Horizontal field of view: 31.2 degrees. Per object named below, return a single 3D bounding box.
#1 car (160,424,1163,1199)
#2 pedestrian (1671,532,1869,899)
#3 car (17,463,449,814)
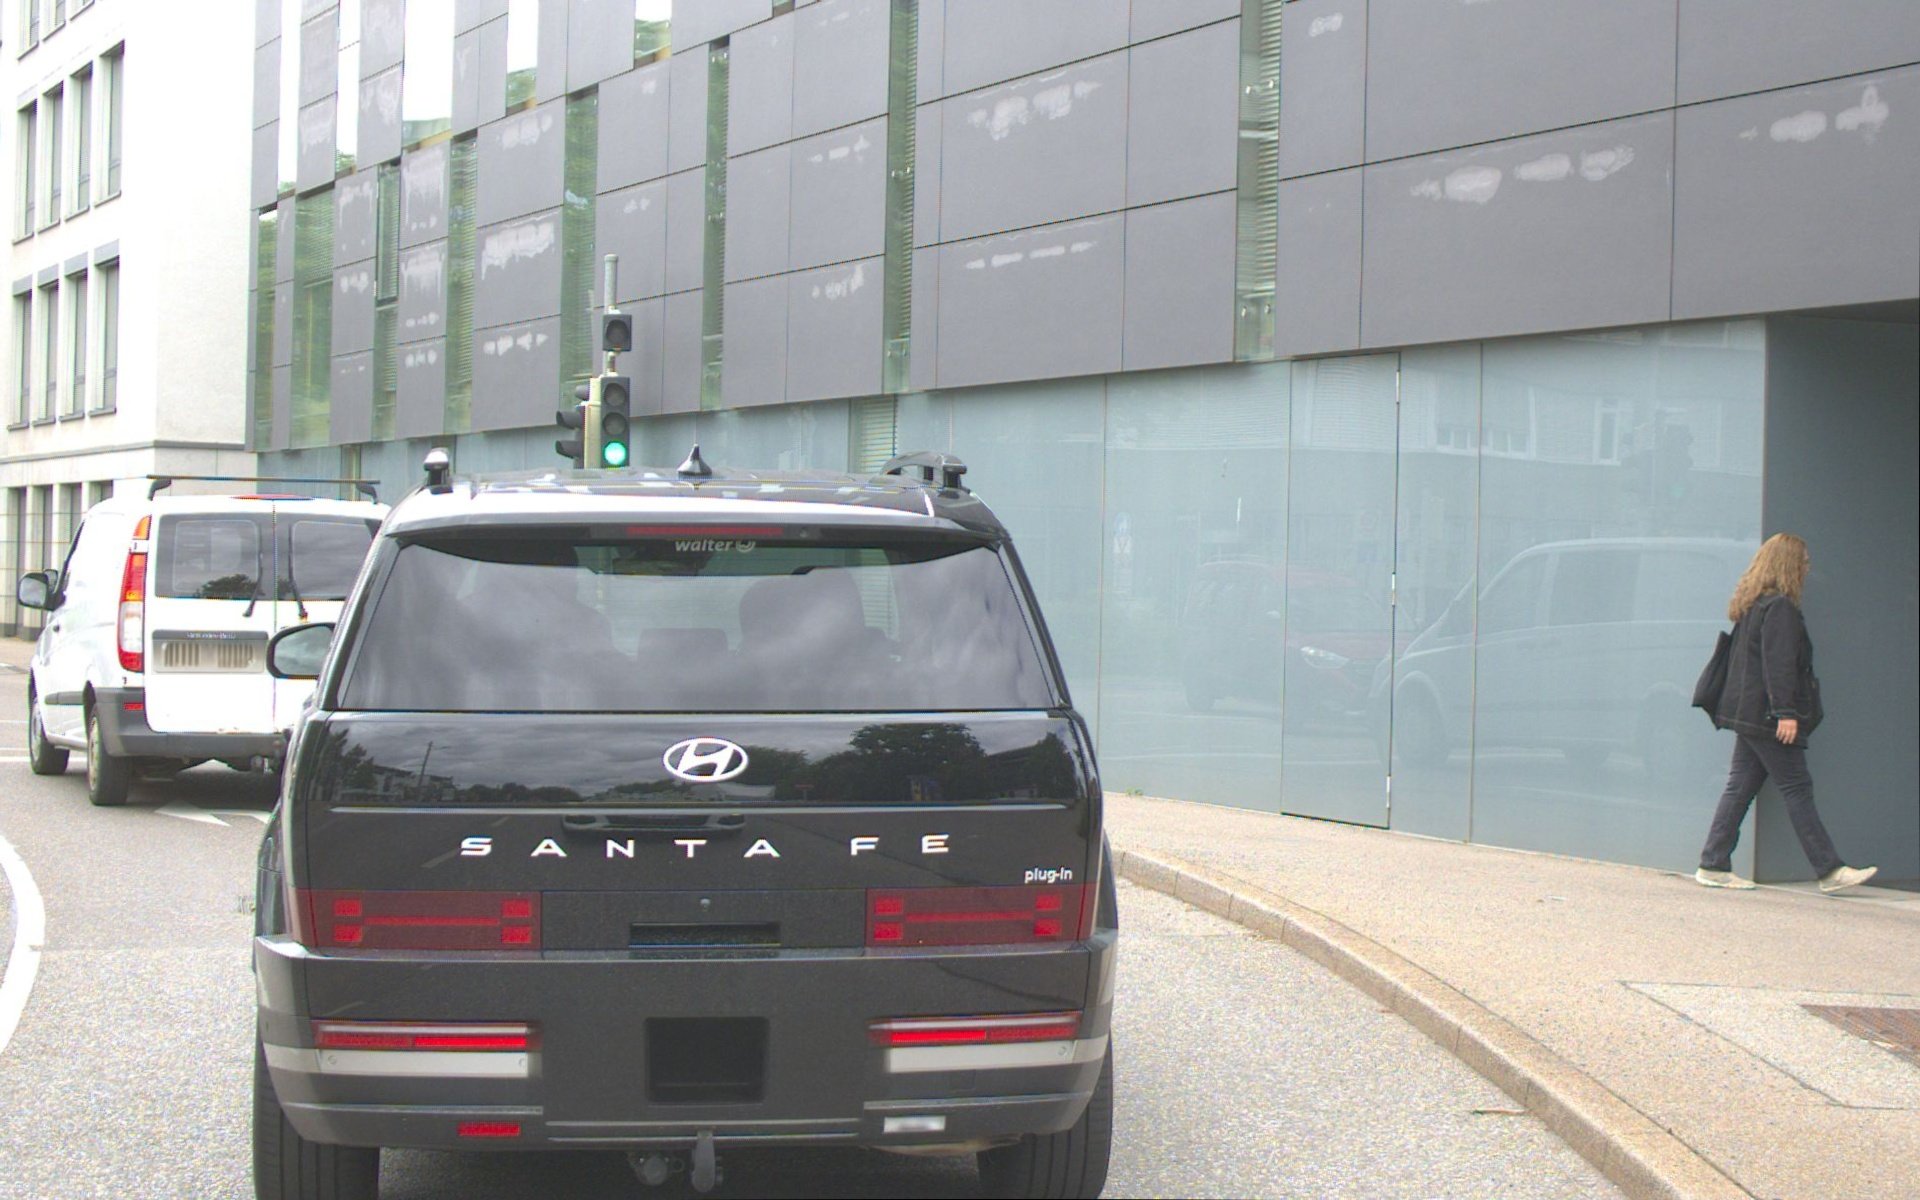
[{"bbox_3d":[-0.769,0.519,8.790,1.908,1.743,4.397,0,1,-5],"label":"car"},{"bbox_3d":[3.863,0.531,16.385,0.863,1.688,0.713,1,0,14],"label":"pedestrian"},{"bbox_3d":[-4.753,0.197,21.958,1.931,1.987,4.536,1,1,-22],"label":"car"}]
